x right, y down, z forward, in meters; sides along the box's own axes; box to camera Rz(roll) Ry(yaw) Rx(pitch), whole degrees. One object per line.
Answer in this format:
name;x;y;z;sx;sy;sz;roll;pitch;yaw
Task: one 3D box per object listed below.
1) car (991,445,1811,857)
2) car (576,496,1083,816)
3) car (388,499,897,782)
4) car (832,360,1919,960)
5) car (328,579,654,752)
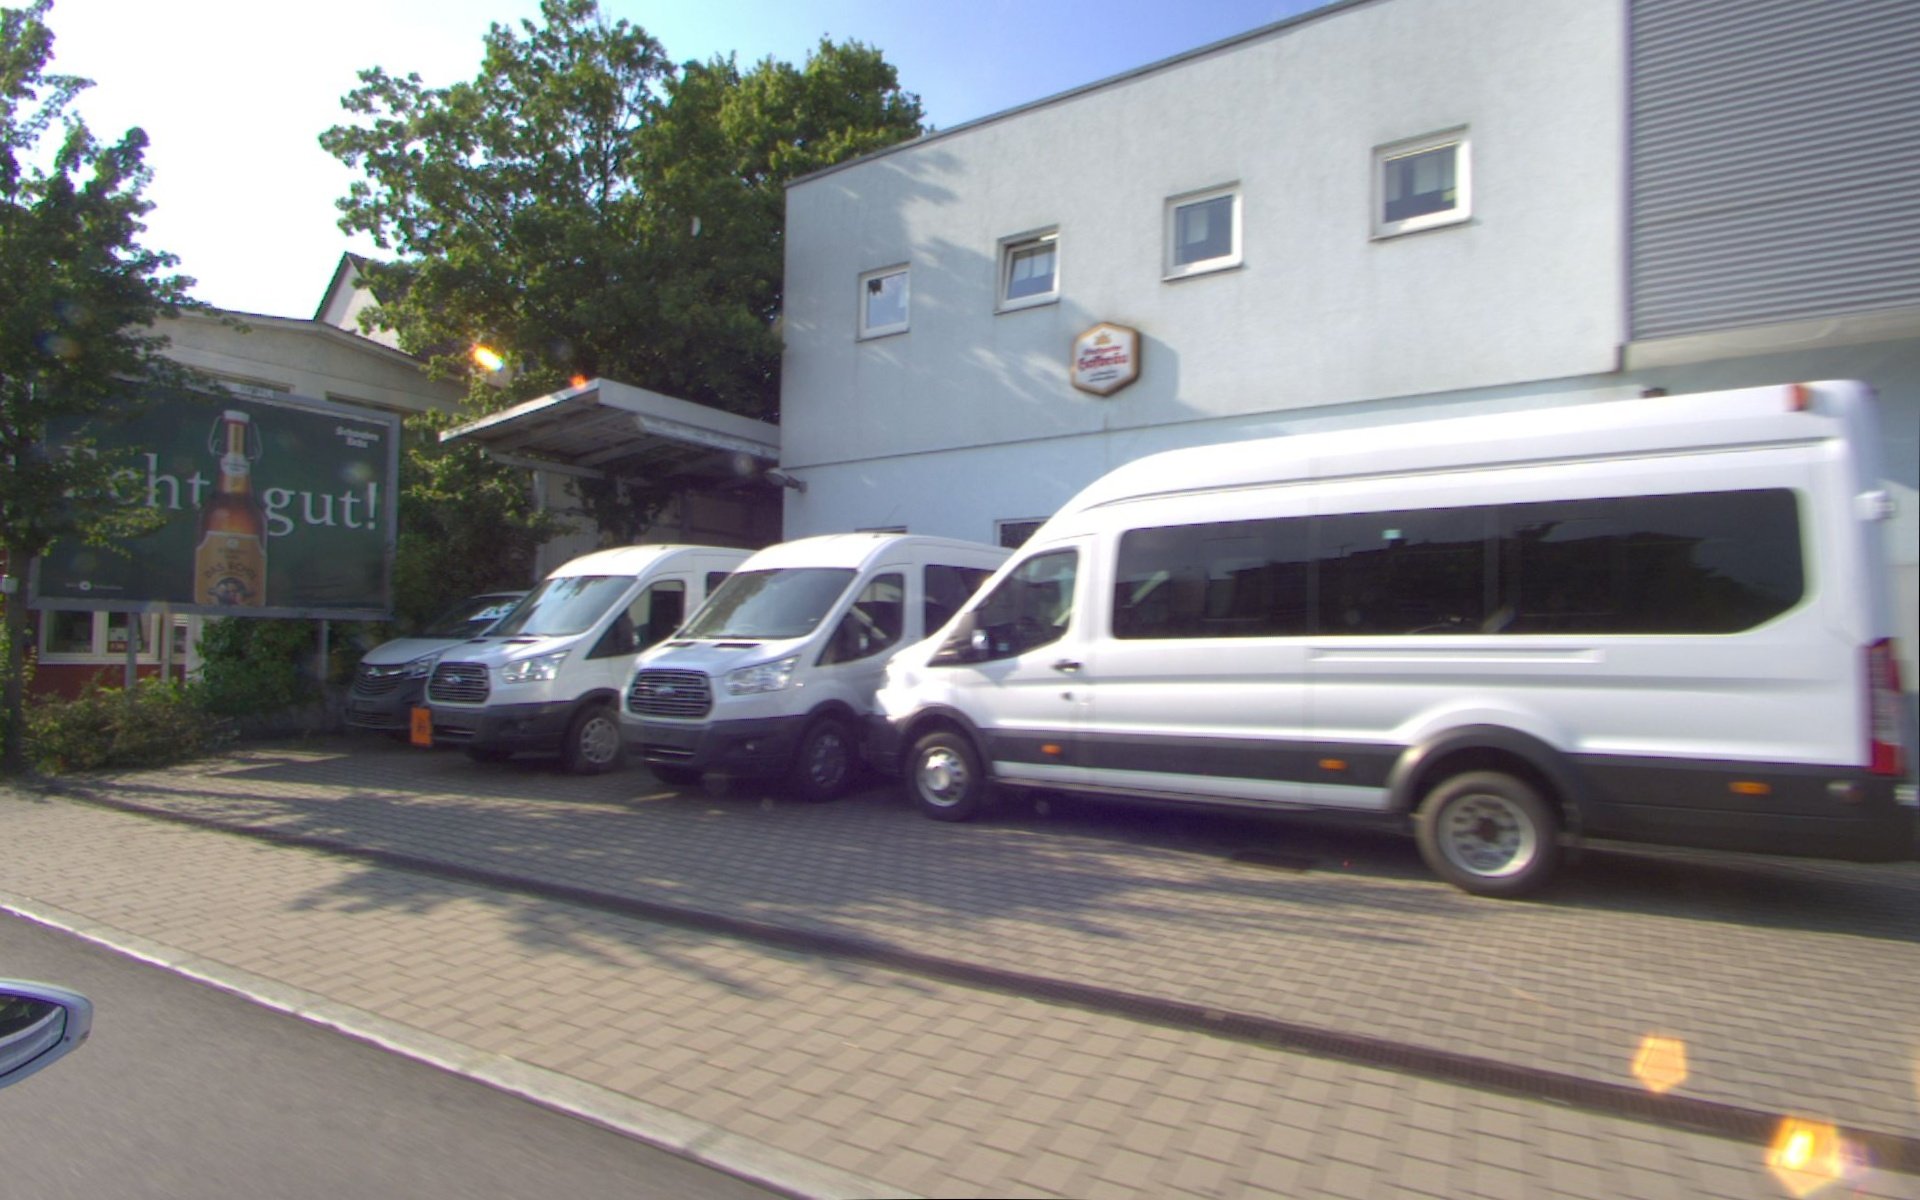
car;3.561;0.394;9.302;6.350;2.757;2.108;0;-2;32
car;-0.862;0.531;10.628;2.014;2.393;6.036;0;-2;31
car;-3.318;0.475;12.125;2.014;2.548;6.036;0;-2;31
car;2.311;0.321;7.104;6.508;2.715;2.146;0;-2;32
car;-5.935;0.799;13.080;1.563;1.918;3.596;0;-2;30
